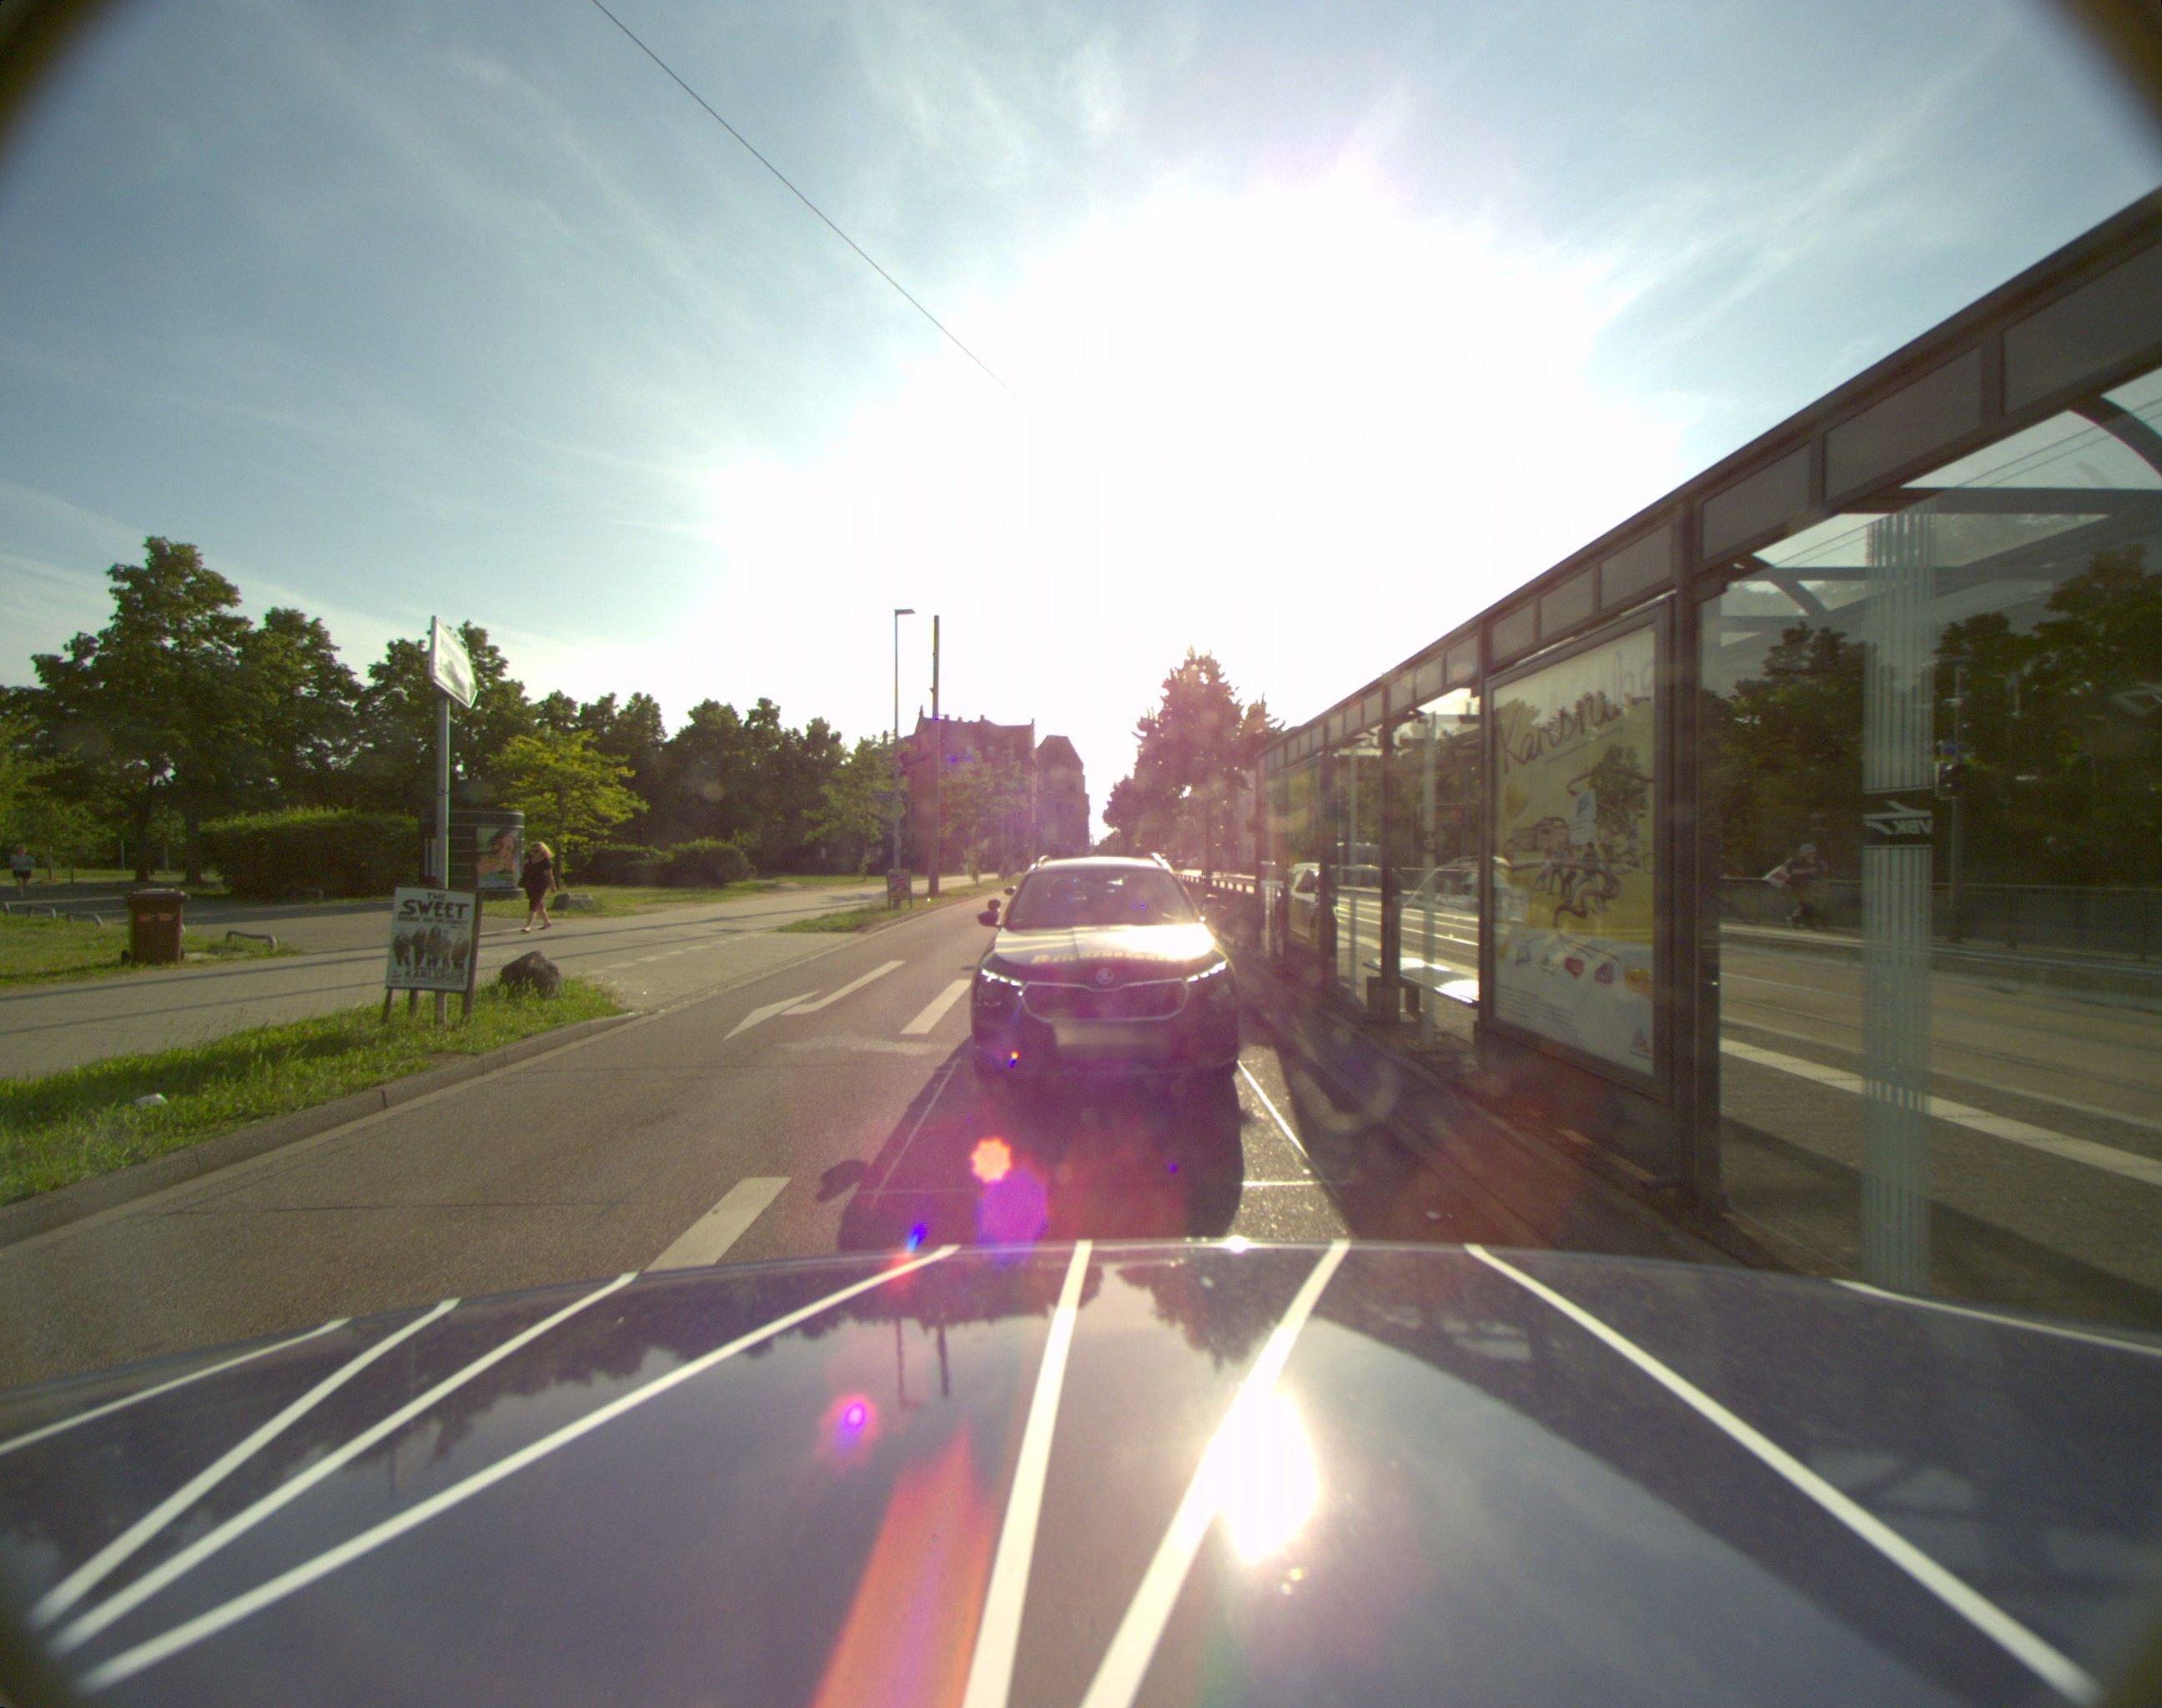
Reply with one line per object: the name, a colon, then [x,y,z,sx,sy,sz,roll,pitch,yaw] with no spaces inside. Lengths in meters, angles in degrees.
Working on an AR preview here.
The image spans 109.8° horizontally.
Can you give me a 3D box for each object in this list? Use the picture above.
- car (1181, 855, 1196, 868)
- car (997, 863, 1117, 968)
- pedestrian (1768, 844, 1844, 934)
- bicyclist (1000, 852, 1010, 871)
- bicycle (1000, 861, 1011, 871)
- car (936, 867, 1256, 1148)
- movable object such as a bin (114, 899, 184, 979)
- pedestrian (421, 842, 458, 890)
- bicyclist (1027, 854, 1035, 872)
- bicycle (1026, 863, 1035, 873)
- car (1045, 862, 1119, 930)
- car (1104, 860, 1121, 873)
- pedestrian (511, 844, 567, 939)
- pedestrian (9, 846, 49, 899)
car: [17.672,1.227,124.862,1.998,2.002,4.000,0,0,0]
car: [-0.331,0.938,13.240,1.781,1.496,4.000,0,0,1]
pedestrian: [13.363,0.623,14.022,0.736,1.618,0.689,0,0,1]
bicyclist: [-7.224,0.740,72.127,0.753,1.763,1.119,0,0,4]
bicycle: [-7.200,1.176,72.309,0.740,0.912,2.095,0,0,3]
car: [0.106,0.890,6.242,1.781,1.496,4.000,0,0,1]
movable object such as a bin: [-11.307,1.012,9.224,0.502,0.898,0.526,1,1,39]
pedestrian: [-28.772,0.529,34.075,0.910,2.145,0.891,0,0,13]
bicyclist: [-4.805,0.892,73.392,0.730,1.763,1.015,0,0,-1]
bicycle: [-4.834,1.348,73.450,0.740,0.912,2.094,0,0,0]
car: [0.047,0.970,19.084,1.672,1.496,3.872,0,0,1]
car: [4.227,1.665,101.131,1.999,1.674,3.999,0,0,-1]
pedestrian: [-9.961,0.675,13.988,0.558,1.691,0.662,0,1,0]
pedestrian: [-33.046,0.583,23.877,0.660,1.641,0.623,0,1,26]
